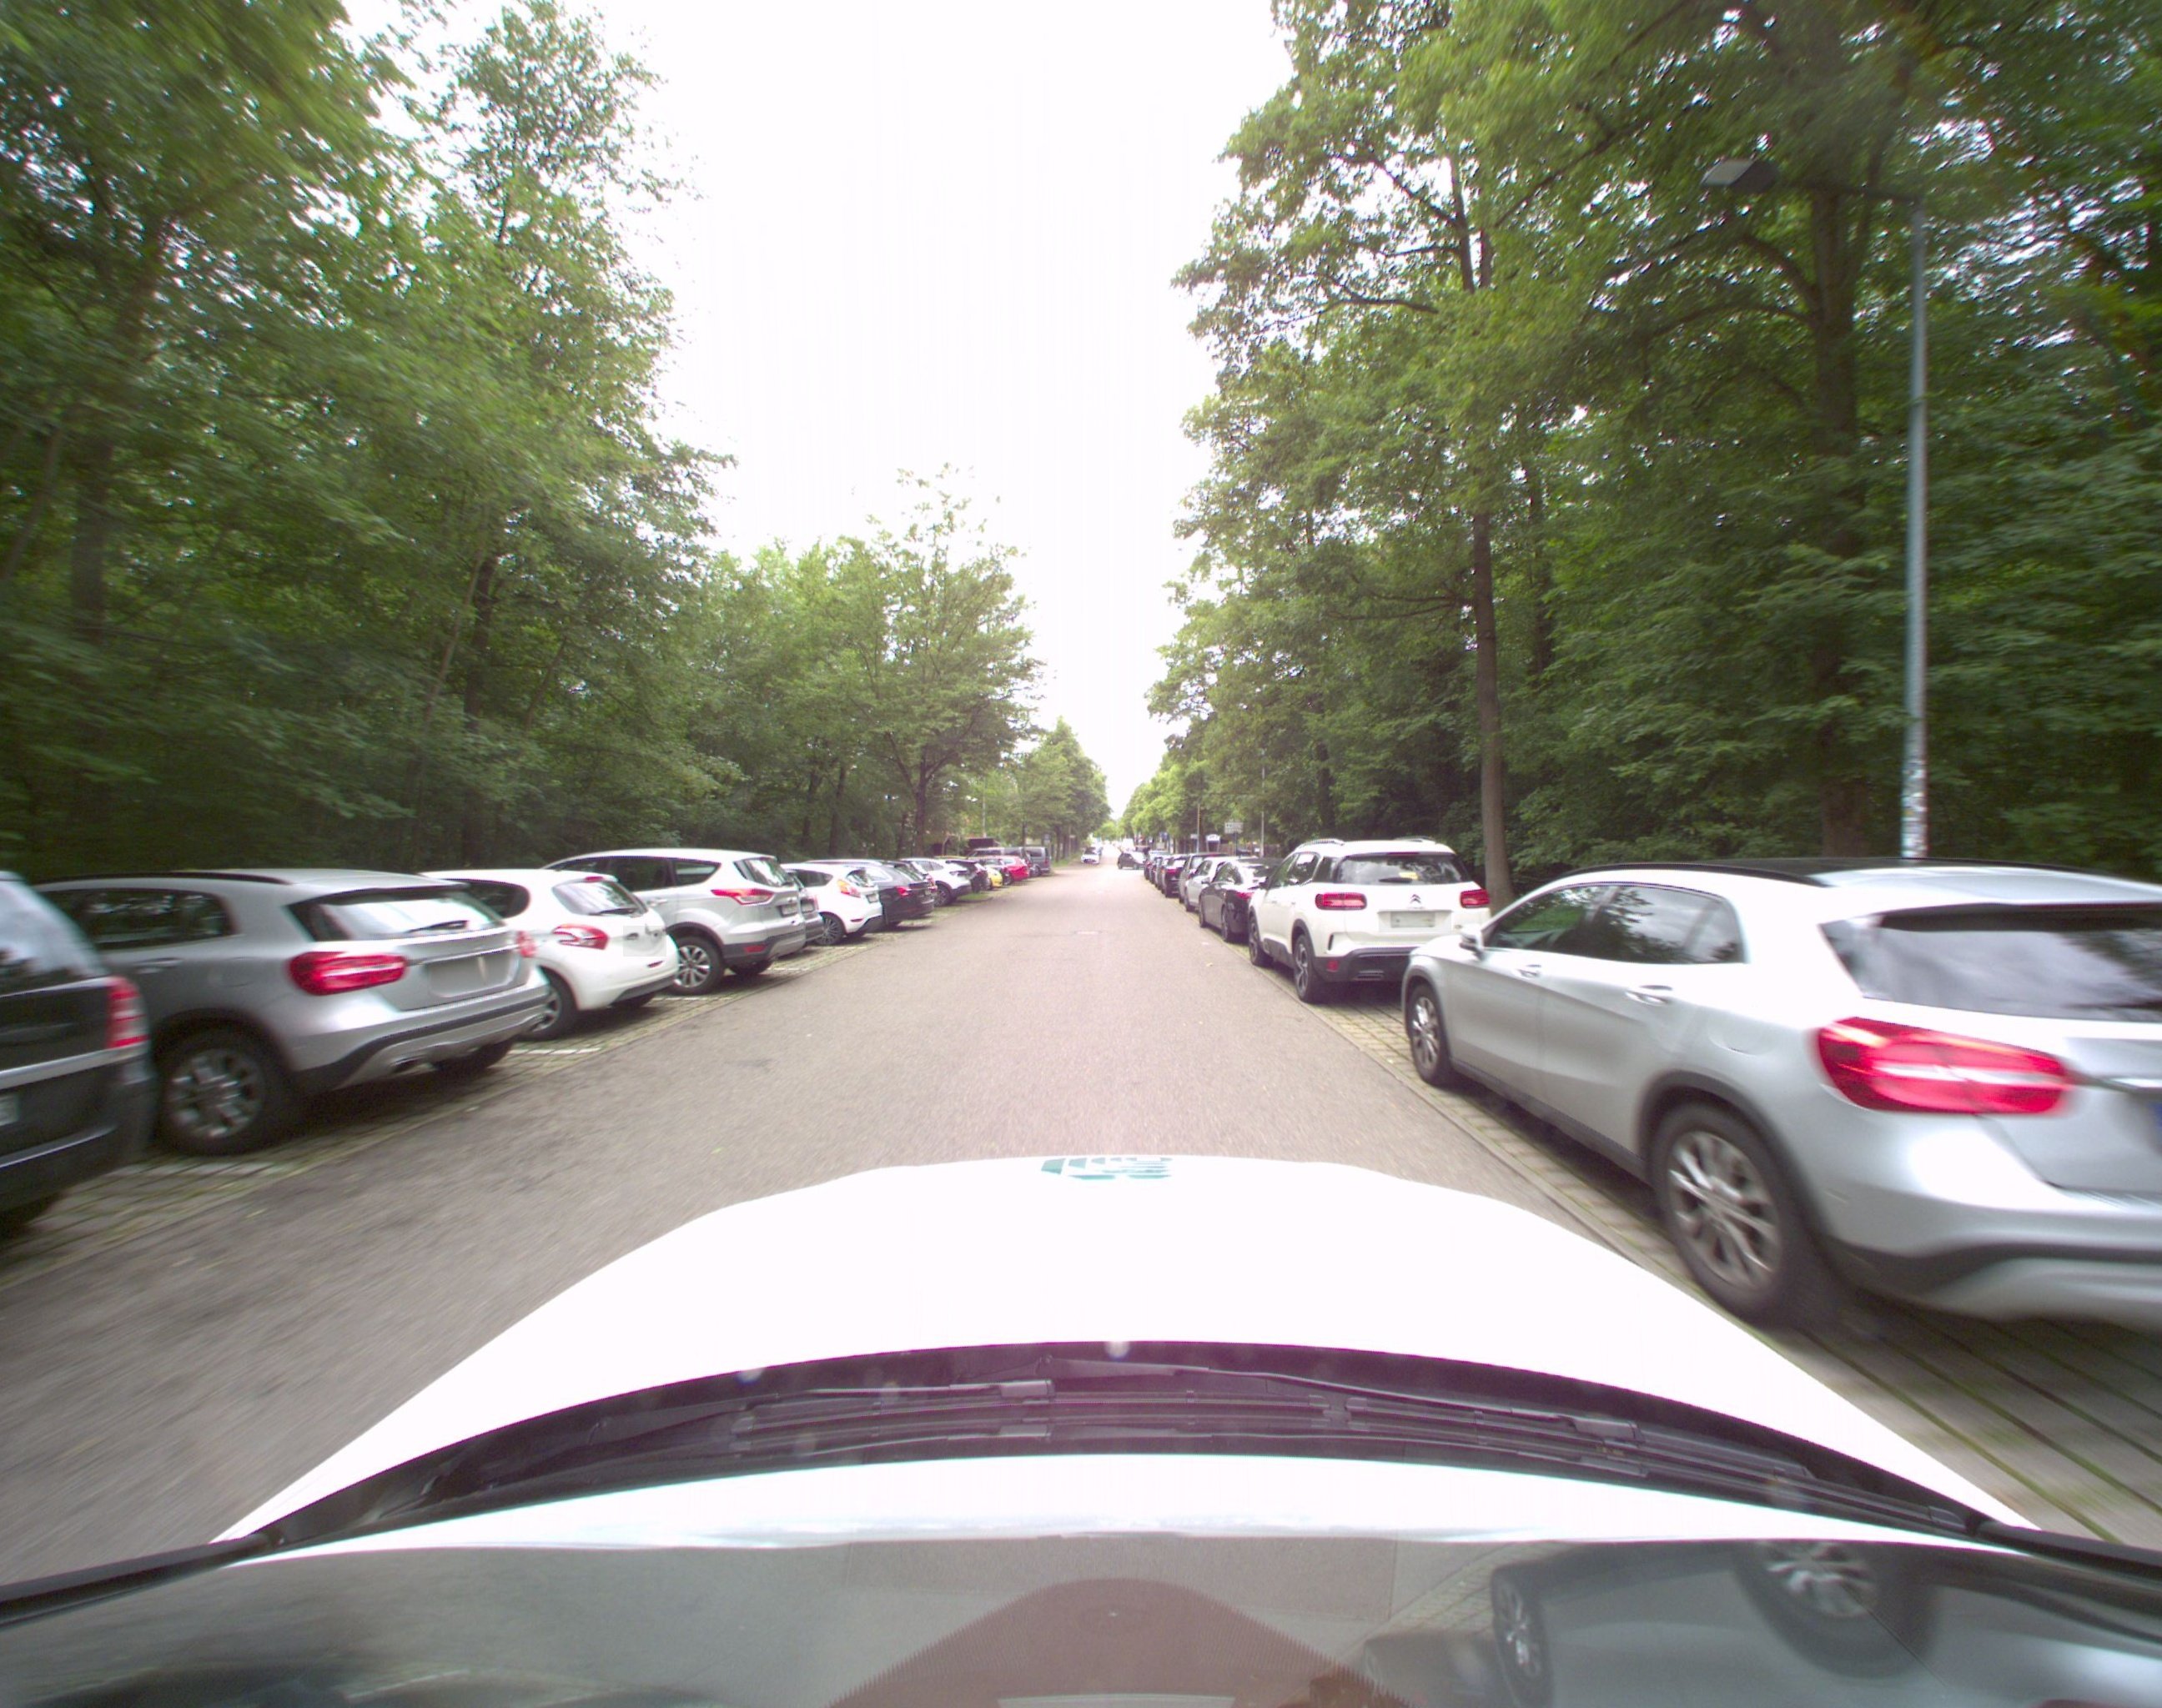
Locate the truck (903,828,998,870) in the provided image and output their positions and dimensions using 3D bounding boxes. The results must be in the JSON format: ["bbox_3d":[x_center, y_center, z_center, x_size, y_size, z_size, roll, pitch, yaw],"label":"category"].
[{"bbox_3d":[-10.341,-0.387,64.818,7.245,3.236,3.430,0,-1,-9],"label":"truck"}]

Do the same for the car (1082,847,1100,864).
[{"bbox_3d":[0.986,0.132,81.926,1.759,1.596,4.215,2,0,-1],"label":"car"}]

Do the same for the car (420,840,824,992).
[{"bbox_3d":[-5.523,0.703,10.202,3.974,1.662,1.814,-1,0,0],"label":"car"}]

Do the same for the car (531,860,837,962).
[{"bbox_3d":[-6.204,0.872,13.060,3.974,1.421,1.814,-1,-1,0],"label":"car"}]

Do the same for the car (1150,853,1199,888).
[{"bbox_3d":[4.018,0.682,35.593,1.730,1.432,4.503,0,0,1],"label":"car"}]

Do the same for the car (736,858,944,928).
[{"bbox_3d":[-5.153,0.805,17.714,3.970,1.435,1.679,0,0,3],"label":"car"}]

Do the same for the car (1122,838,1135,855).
[{"bbox_3d":[8.347,-1.336,142.146,2.175,3.015,4.901,0,0,3],"label":"car"}]

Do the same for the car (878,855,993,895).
[{"bbox_3d":[-5.425,0.765,30.685,3.972,1.438,1.716,0,0,1],"label":"car"}]

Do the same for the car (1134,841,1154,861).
[{"bbox_3d":[6.553,-0.332,84.537,1.980,2.013,4.112,0,0,3],"label":"car"}]

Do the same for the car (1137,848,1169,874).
[{"bbox_3d":[4.632,0.441,52.815,1.730,1.633,4.376,0,0,1],"label":"car"}]

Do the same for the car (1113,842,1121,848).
[{"bbox_3d":[10.397,-2.601,235.965,1.889,1.706,4.070,0,-1,6],"label":"car"}]

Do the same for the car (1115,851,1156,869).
[{"bbox_3d":[4.595,0.536,69.098,1.881,1.486,3.967,0,-1,-25],"label":"car"}]

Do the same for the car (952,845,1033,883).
[{"bbox_3d":[-4.661,0.535,43.152,3.972,1.862,1.814,-1,0,1],"label":"car"}]

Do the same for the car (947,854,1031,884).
[{"bbox_3d":[-4.545,0.738,40.745,3.974,1.476,1.779,0,0,-1],"label":"car"}]

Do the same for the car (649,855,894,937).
[{"bbox_3d":[-5.728,0.777,15.364,3.970,1.435,1.650,0,-2,3],"label":"car"}]

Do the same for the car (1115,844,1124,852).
[{"bbox_3d":[9.524,-1.429,202.507,1.984,2.014,4.006,0,-1,5],"label":"car"}]

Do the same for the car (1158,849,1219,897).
[{"bbox_3d":[3.791,0.623,29.467,1.730,1.589,4.383,0,0,1],"label":"car"}]

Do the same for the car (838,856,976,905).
[{"bbox_3d":[-5.427,0.821,25.750,3.972,1.467,1.715,0,0,1],"label":"car"}]

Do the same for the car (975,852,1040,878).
[{"bbox_3d":[-4.557,0.657,50.835,3.797,1.512,1.811,-1,0,4],"label":"car"}]

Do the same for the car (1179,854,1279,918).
[{"bbox_3d":[3.576,0.714,20.354,1.731,1.425,4.153,0,0,0],"label":"car"}]

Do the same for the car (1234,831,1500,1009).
[{"bbox_3d":[3.125,0.609,10.088,1.729,1.643,5.075,0,0,3],"label":"car"}]

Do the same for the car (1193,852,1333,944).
[{"bbox_3d":[3.257,0.708,15.474,1.730,1.474,4.606,0,0,1],"label":"car"}]

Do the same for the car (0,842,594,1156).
[{"bbox_3d":[-5.759,0.816,5.362,3.971,1.662,1.815,-2,0,2],"label":"car"}]

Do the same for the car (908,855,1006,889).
[{"bbox_3d":[-5.400,0.785,35.738,3.972,1.438,1.618,0,0,1],"label":"car"}]

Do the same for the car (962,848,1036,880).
[{"bbox_3d":[-4.548,0.541,45.586,3.974,1.765,1.824,0,0,0],"label":"car"}]

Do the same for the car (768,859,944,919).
[{"bbox_3d":[-5.666,0.869,20.803,3.970,1.435,1.679,0,0,3],"label":"car"}]

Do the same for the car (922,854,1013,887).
[{"bbox_3d":[-5.268,0.758,38.124,3.975,1.438,1.671,0,0,-1],"label":"car"}]

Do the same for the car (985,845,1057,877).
[{"bbox_3d":[-3.862,0.462,52.957,4.487,1.978,1.891,0,-1,0],"label":"car"}]

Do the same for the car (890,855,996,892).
[{"bbox_3d":[-5.618,0.766,33.420,3.972,1.438,1.734,0,0,1],"label":"car"}]

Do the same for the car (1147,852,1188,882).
[{"bbox_3d":[4.382,0.642,41.680,1.730,1.432,4.503,0,0,1],"label":"car"}]

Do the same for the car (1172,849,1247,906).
[{"bbox_3d":[3.808,0.658,24.781,1.730,1.568,4.009,0,0,1],"label":"car"}]

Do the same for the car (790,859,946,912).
[{"bbox_3d":[-6.051,0.879,23.407,3.970,1.435,1.704,0,0,3],"label":"car"}]

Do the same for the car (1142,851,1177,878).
[{"bbox_3d":[4.487,0.593,47.244,1.730,1.495,4.235,0,0,1],"label":"car"}]

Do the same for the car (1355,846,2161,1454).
[{"bbox_3d":[3.034,0.713,4.359,1.729,1.479,4.773,0,0,3],"label":"car"}]

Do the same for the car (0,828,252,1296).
[{"bbox_3d":[-5.837,0.791,2.894,3.974,1.662,1.696,-2,0,0],"label":"car"}]

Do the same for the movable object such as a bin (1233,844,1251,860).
[{"bbox_3d":[14.769,-0.150,74.590,1.293,1.442,1.066,0,-1,-42],"label":"movable object such as a bin"}]
